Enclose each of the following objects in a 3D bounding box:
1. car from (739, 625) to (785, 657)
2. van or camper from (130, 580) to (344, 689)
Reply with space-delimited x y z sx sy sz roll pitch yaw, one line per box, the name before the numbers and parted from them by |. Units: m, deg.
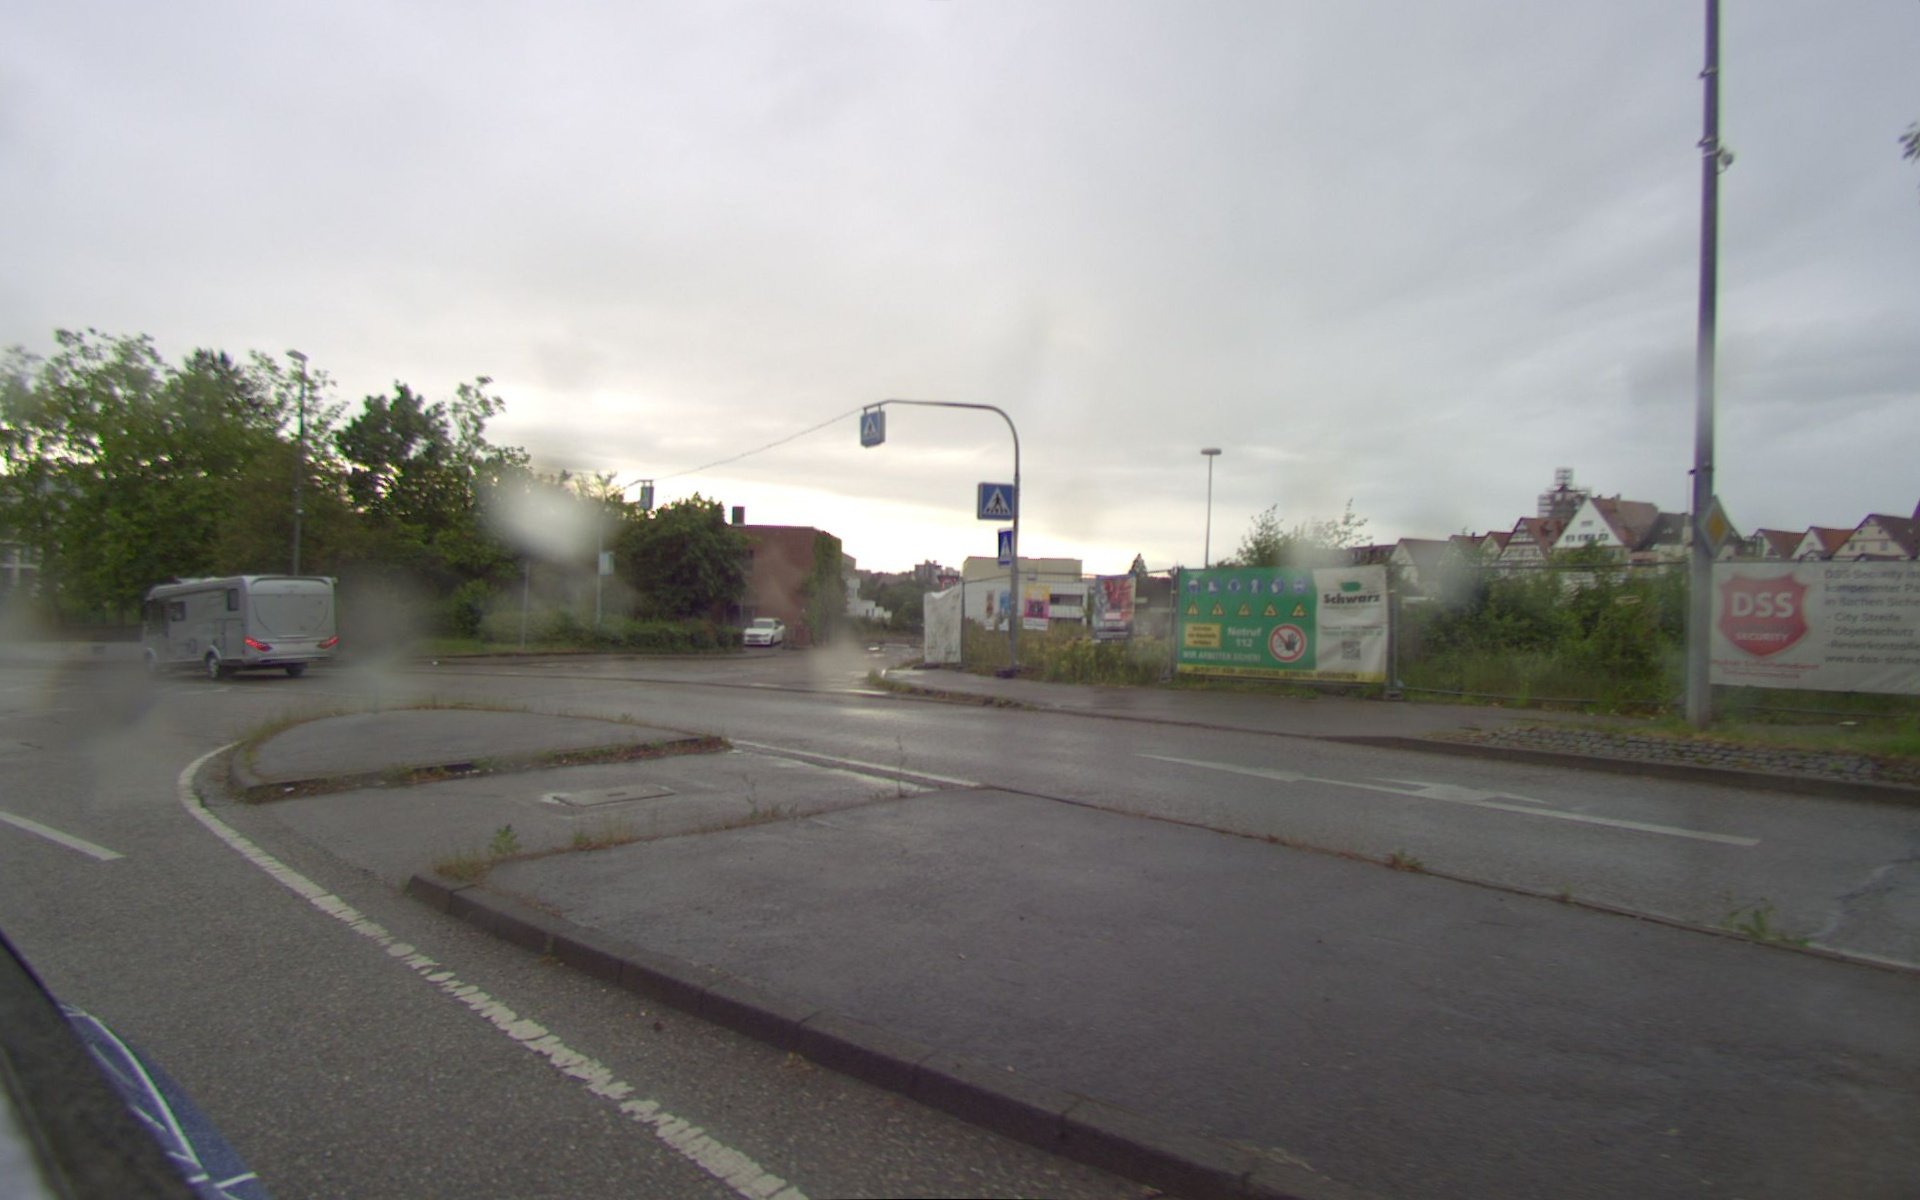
car | -11.180 2.286 57.387 1.678 1.619 4.292 -1 0 1
van or camper | -20.032 0.912 27.917 6.996 2.676 2.349 -1 -1 32
